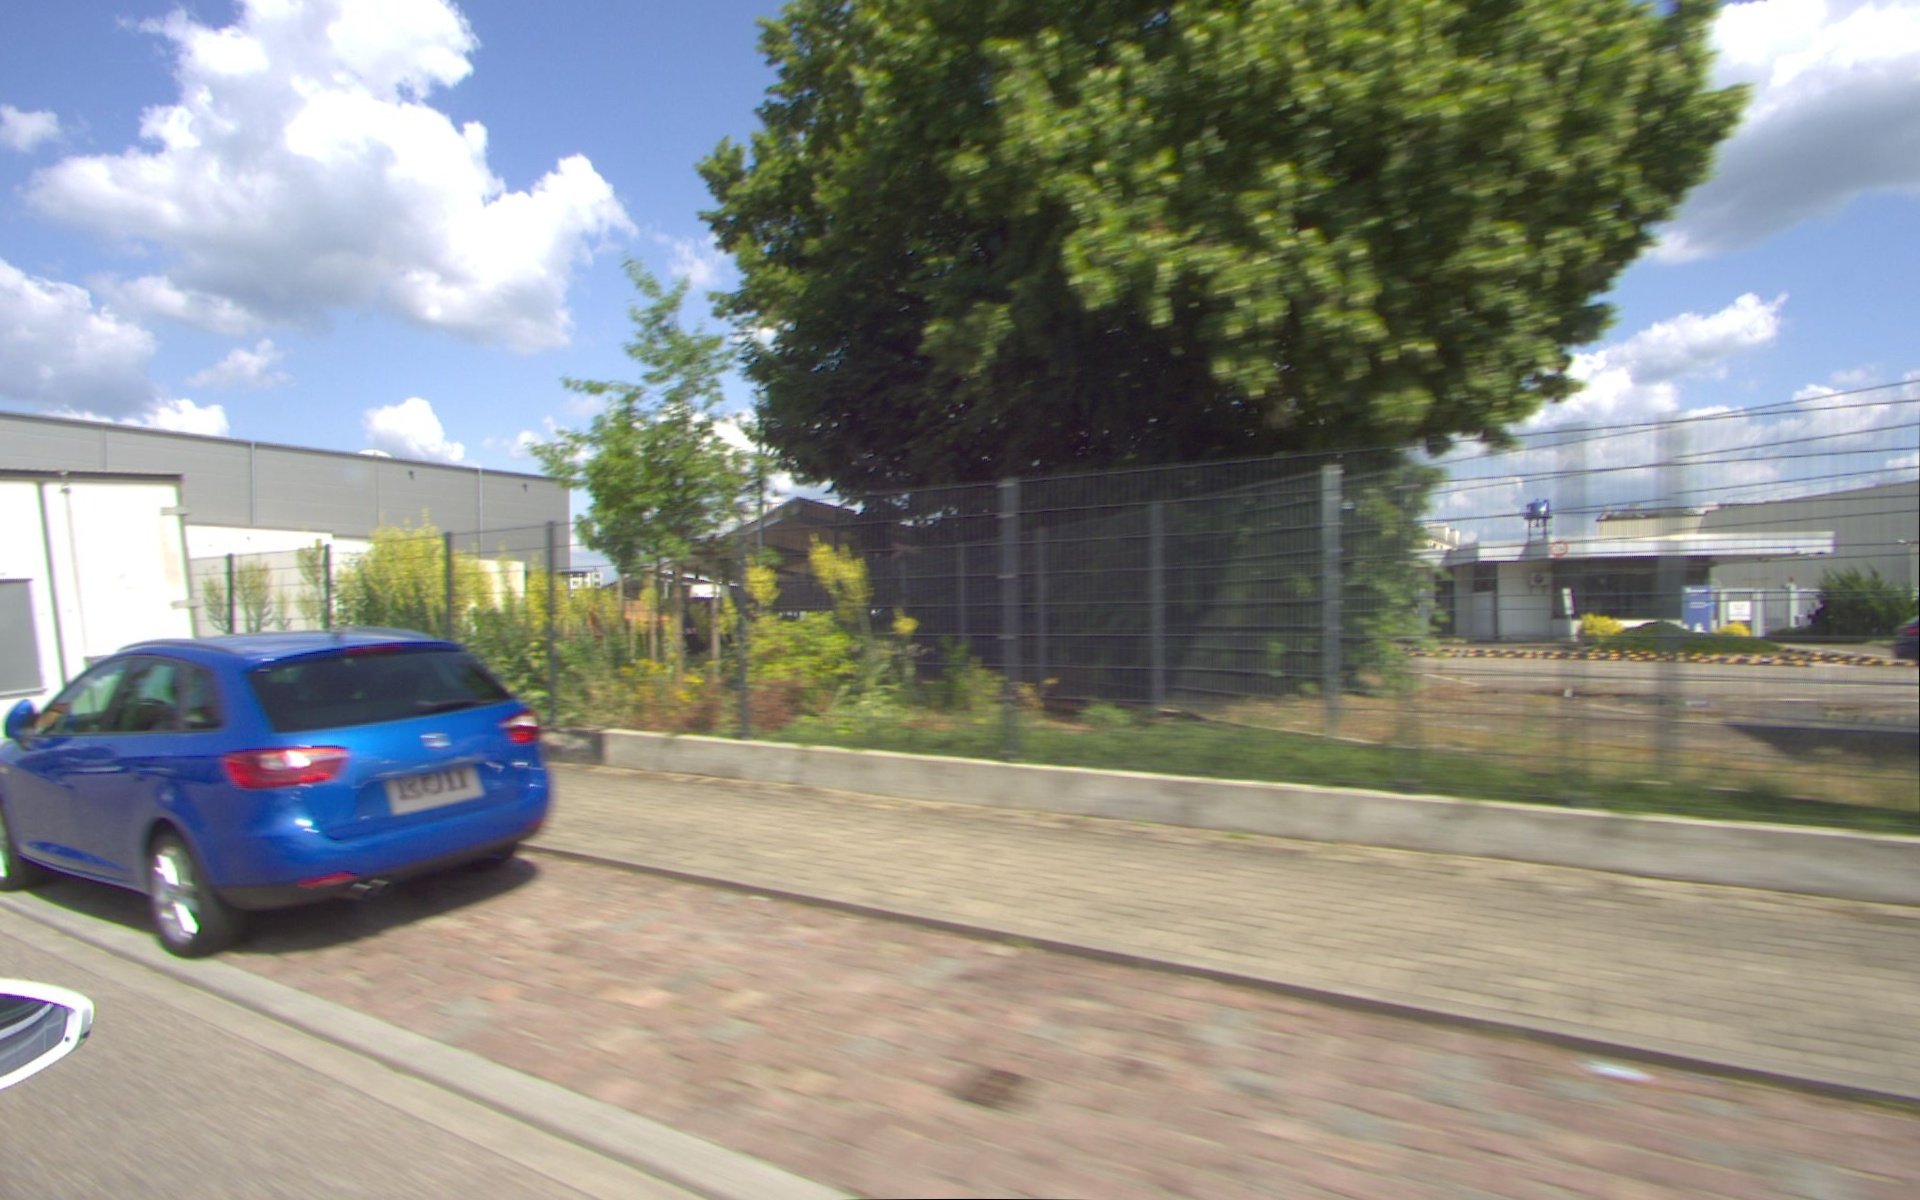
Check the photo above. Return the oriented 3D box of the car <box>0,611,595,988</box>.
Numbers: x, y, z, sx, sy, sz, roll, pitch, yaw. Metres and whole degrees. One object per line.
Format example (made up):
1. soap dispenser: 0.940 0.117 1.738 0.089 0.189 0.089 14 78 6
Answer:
1. car: -4.182 0.879 5.847 4.012 1.480 1.687 -2 1 31

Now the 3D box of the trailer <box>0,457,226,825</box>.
1. trailer: -9.683 0.379 9.460 6.133 2.774 2.199 -2 2 32
